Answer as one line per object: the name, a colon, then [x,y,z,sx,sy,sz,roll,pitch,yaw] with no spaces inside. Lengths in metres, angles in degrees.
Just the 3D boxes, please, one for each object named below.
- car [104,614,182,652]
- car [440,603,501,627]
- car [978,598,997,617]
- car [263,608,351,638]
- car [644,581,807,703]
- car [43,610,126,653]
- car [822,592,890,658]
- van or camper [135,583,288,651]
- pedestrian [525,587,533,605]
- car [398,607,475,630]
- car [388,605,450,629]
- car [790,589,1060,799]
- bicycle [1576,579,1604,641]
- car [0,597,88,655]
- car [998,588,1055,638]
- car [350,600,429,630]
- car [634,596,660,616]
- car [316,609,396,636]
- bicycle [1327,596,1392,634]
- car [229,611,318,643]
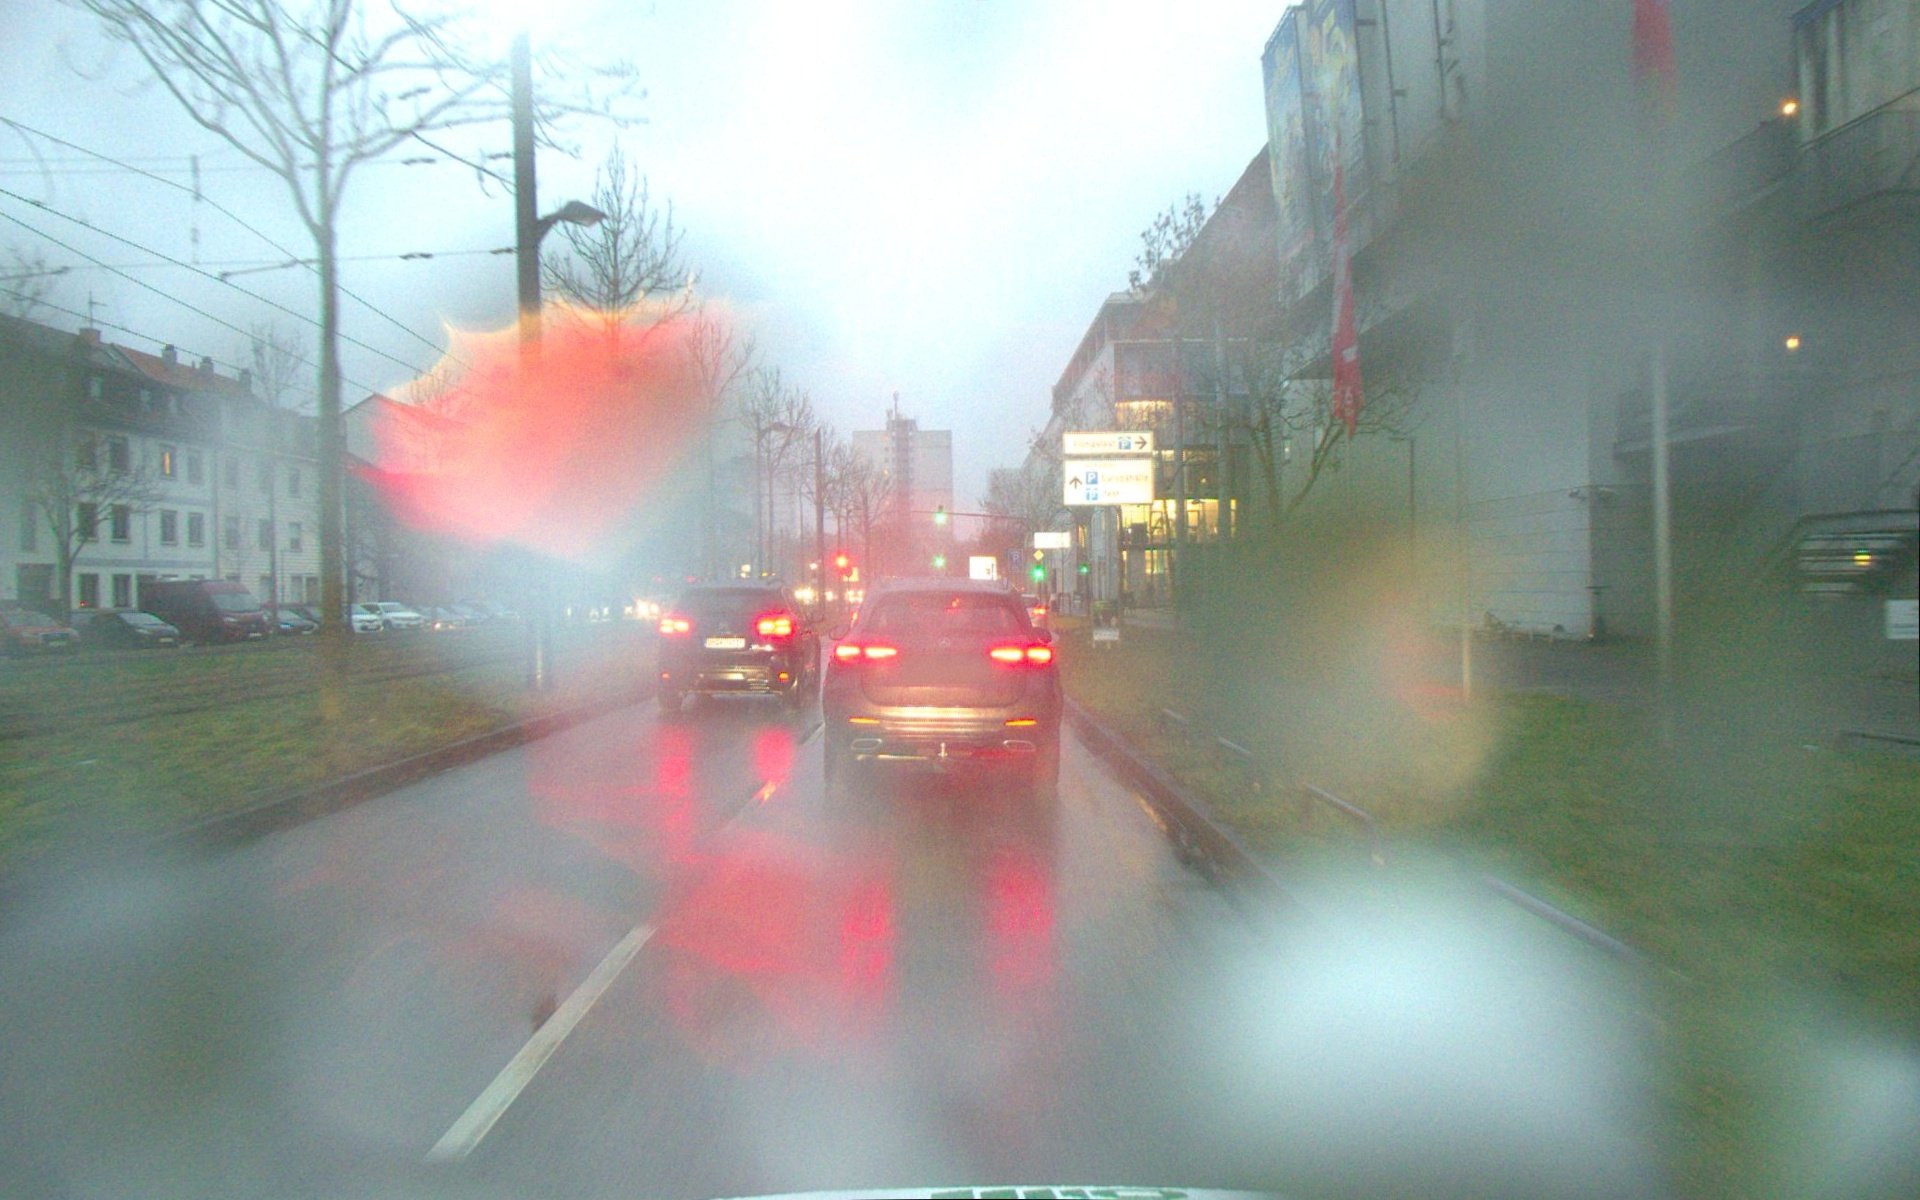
car: [-27.965,1.116,56.595,2.835,1.225,1.381,1,0,41]
car: [-28.510,0.881,96.265,3.691,1.360,1.448,0,1,35]
car: [2.397,0.612,143.206,1.582,1.599,3.352,1,0,2]
car: [-28.423,0.985,71.985,3.464,1.221,1.878,1,0,31]
car: [-3.047,0.502,22.196,1.781,1.476,3.998,1,0,-3]
car: [-28.597,1.012,54.014,3.040,1.325,1.381,1,0,41]
car: [-2.757,0.642,44.566,1.655,1.664,3.473,1,0,-1]
van or camper: [-28.626,0.605,63.164,6.737,2.401,1.994,1,0,33]
pedestrian: [-30.583,-0.283,117.316,0.343,1.205,0.427,1,0,-42]
car: [-28.223,0.965,89.128,4.098,1.135,1.678,1,0,30]
car: [-28.110,0.883,85.937,2.978,1.167,1.394,1,0,30]
car: [-0.284,0.688,13.944,1.953,1.509,3.699,1,0,-1]
bicycle: [13.773,0.208,36.131,0.402,1.307,1.743,1,0,26]
car: [-27.951,0.755,49.800,3.779,1.616,1.732,1,0,41]
car: [2.218,0.411,55.538,1.828,1.570,3.611,1,0,2]
car: [-28.414,0.752,82.345,4.042,1.402,1.766,1,0,36]
car: [-26.624,0.521,140.888,1.581,1.651,3.508,1,0,-1]
car: [-27.578,1.006,75.493,3.345,1.167,1.688,1,0,31]
bicycle: [11.623,0.433,48.088,1.772,1.070,0.396,-2,0,-3]
car: [-28.672,1.125,69.077,3.464,1.233,1.744,1,0,31]
